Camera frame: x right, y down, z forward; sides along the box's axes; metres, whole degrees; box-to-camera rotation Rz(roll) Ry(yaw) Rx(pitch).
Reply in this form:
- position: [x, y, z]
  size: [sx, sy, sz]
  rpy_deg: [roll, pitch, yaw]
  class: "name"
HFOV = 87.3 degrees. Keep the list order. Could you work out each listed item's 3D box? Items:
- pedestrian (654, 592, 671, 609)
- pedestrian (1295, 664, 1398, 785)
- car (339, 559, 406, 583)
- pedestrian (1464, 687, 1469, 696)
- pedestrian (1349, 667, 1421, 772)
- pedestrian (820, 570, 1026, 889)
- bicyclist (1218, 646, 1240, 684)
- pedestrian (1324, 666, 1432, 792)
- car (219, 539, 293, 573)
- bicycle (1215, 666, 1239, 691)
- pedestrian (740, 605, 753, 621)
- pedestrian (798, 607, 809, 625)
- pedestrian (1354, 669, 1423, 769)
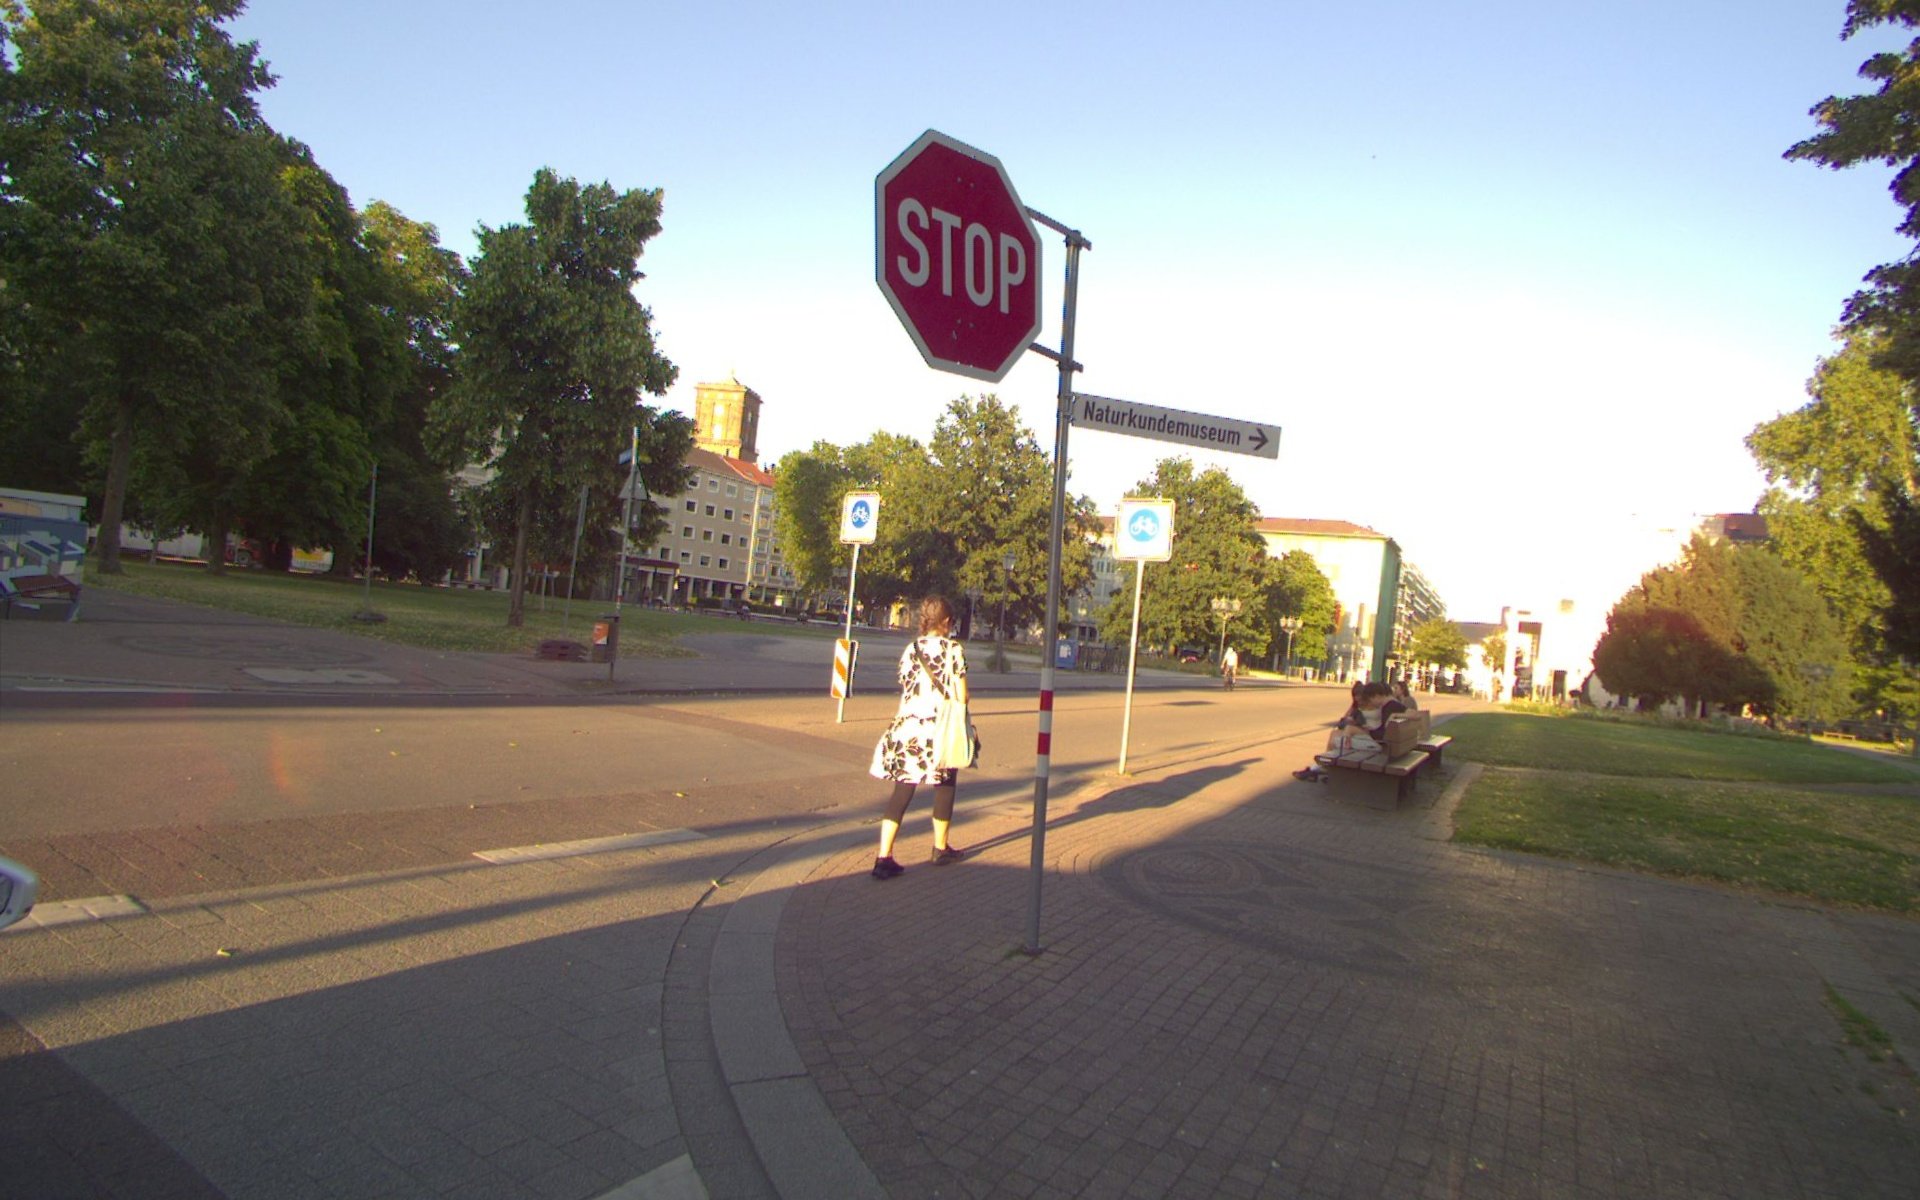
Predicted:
- position: [-20.424, 0.031, 69.092]
  size: [0.893, 1.090, 0.614]
  rpy_deg: [6, 0, -42]
  class: "pedestrian"
- position: [4.527, 1.446, 11.822]
  size: [0.857, 1.277, 0.598]
  rpy_deg: [6, 0, 0]
  class: "pedestrian"
- position: [-42.269, -2.103, 72.429]
  size: [1.964, 1.255, 3.583]
  rpy_deg: [6, -1, 24]
  class: "car"
- position: [109.270, 19.688, 216.945]
  size: [0.785, 1.835, 0.653]
  rpy_deg: [6, 0, 42]
  class: "pedestrian"
- position: [6.062, 1.685, 14.347]
  size: [0.804, 1.358, 0.598]
  rpy_deg: [6, 0, 26]
  class: "pedestrian"
- position: [-0.211, 0.733, 6.062]
  size: [0.822, 1.710, 0.735]
  rpy_deg: [6, 0, 30]
  class: "pedestrian"
- position: [10.828, 2.631, 40.518]
  size: [0.630, 1.461, 0.695]
  rpy_deg: [6, 0, 25]
  class: "bicyclist"
- position: [4.617, 1.413, 11.167]
  size: [0.803, 1.252, 0.683]
  rpy_deg: [6, 0, 1]
  class: "pedestrian"
- position: [-53.294, -3.287, 76.205]
  size: [1.967, 2.038, 4.036]
  rpy_deg: [6, -1, 32]
  class: "car"
- position: [10.753, 3.153, 40.476]
  size: [0.630, 0.953, 1.463]
  rpy_deg: [6, -1, 24]
  class: "bicycle"
- position: [-13.916, 0.847, 65.652]
  size: [0.609, 0.936, 0.512]
  rpy_deg: [6, 0, 6]
  class: "pedestrian"
- position: [-10.218, 1.036, 65.545]
  size: [0.610, 1.091, 0.511]
  rpy_deg: [6, 0, -9]
  class: "pedestrian"
- position: [6.359, 1.750, 14.933]
  size: [0.804, 1.358, 0.598]
  rpy_deg: [6, 0, 26]
  class: "pedestrian"
